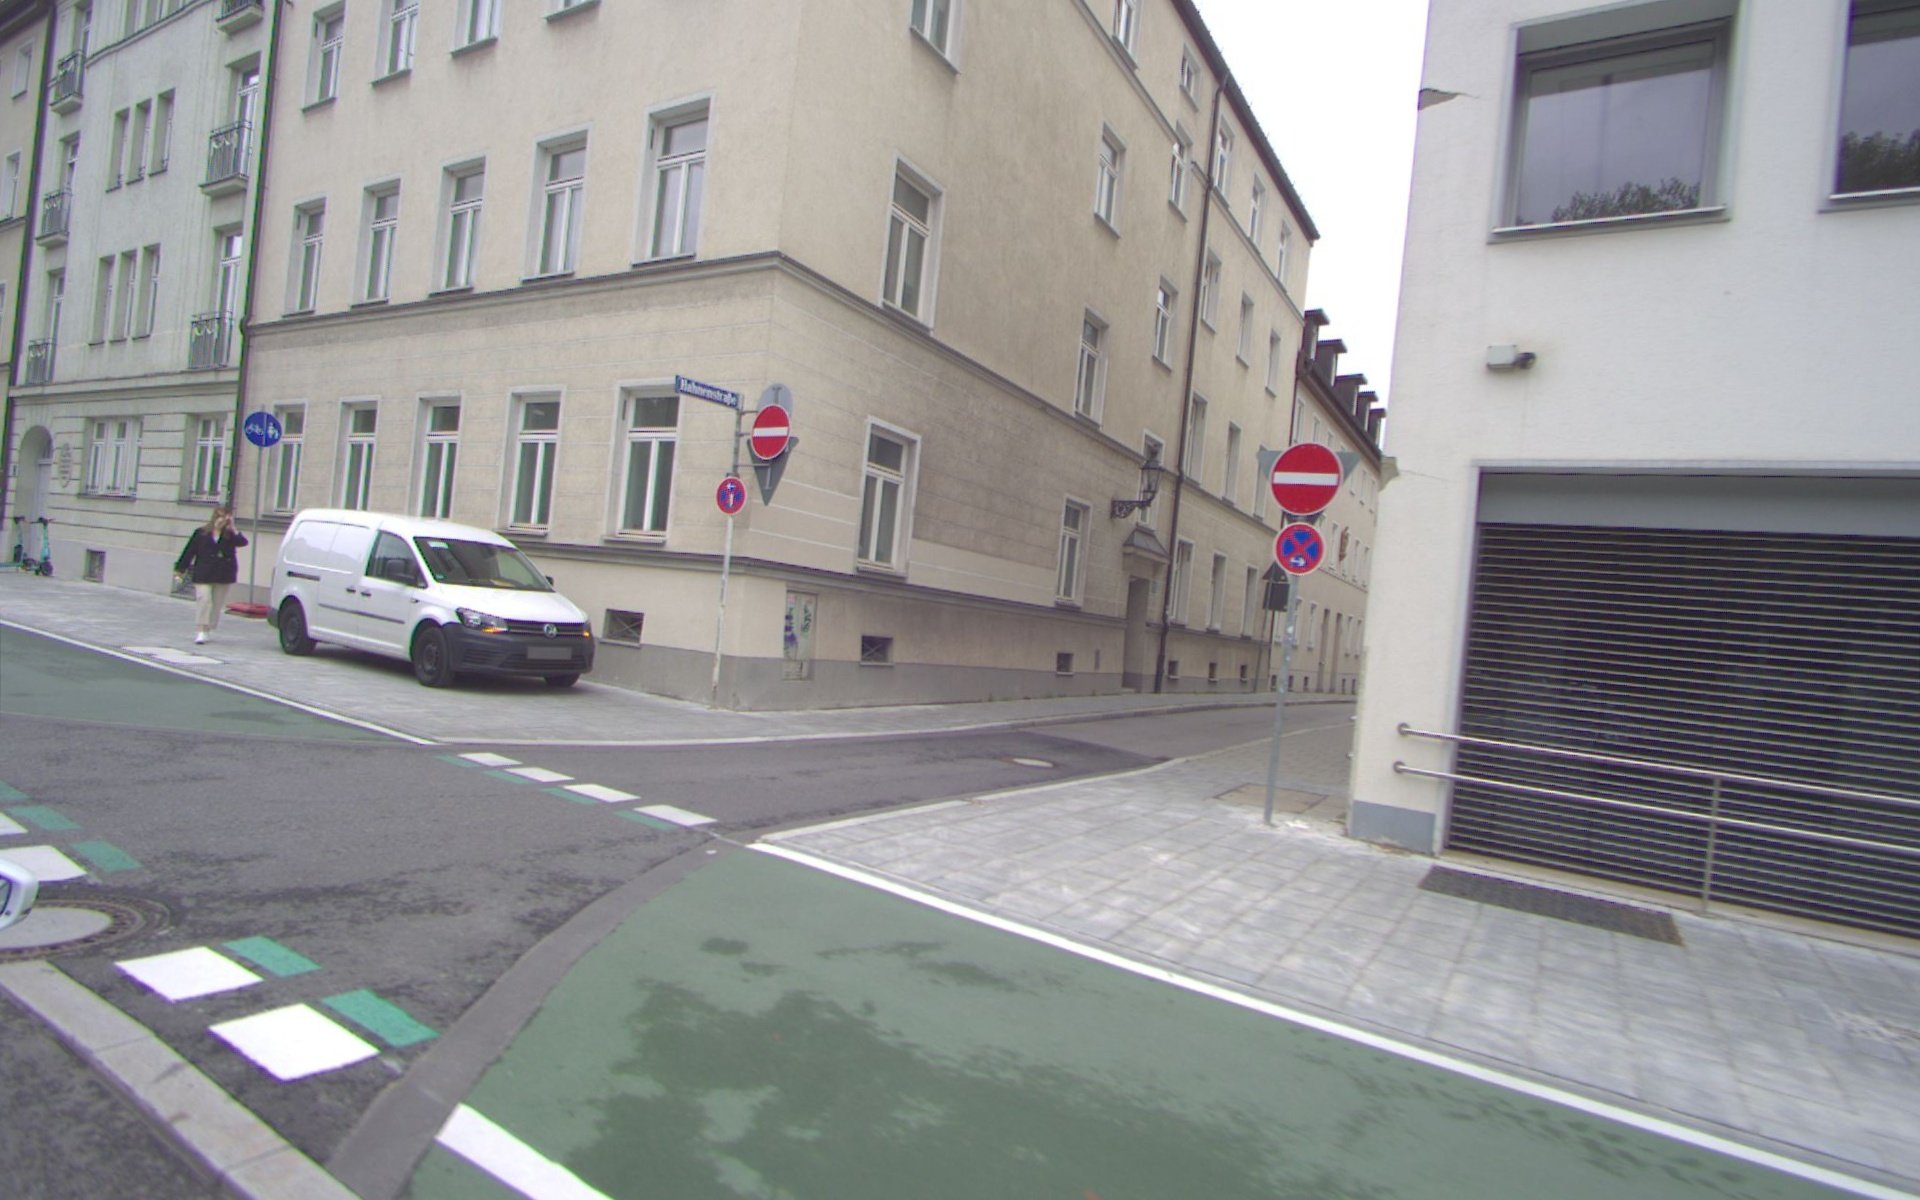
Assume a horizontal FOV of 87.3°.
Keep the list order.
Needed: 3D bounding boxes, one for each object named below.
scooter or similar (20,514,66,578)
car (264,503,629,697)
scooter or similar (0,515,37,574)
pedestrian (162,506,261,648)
[{"bbox_3d":[-19.918,-1.177,21.843,1.101,1.289,0.387,5,1,31],"label":"scooter or similar"},{"bbox_3d":[-6.126,-0.056,11.848,4.362,1.772,1.735,6,0,32],"label":"car"},{"bbox_3d":[-20.897,-1.223,22.043,0.242,1.247,1.119,5,1,-1],"label":"scooter or similar"},{"bbox_3d":[-9.289,-0.279,12.484,0.725,1.656,0.665,6,1,32],"label":"pedestrian"}]
